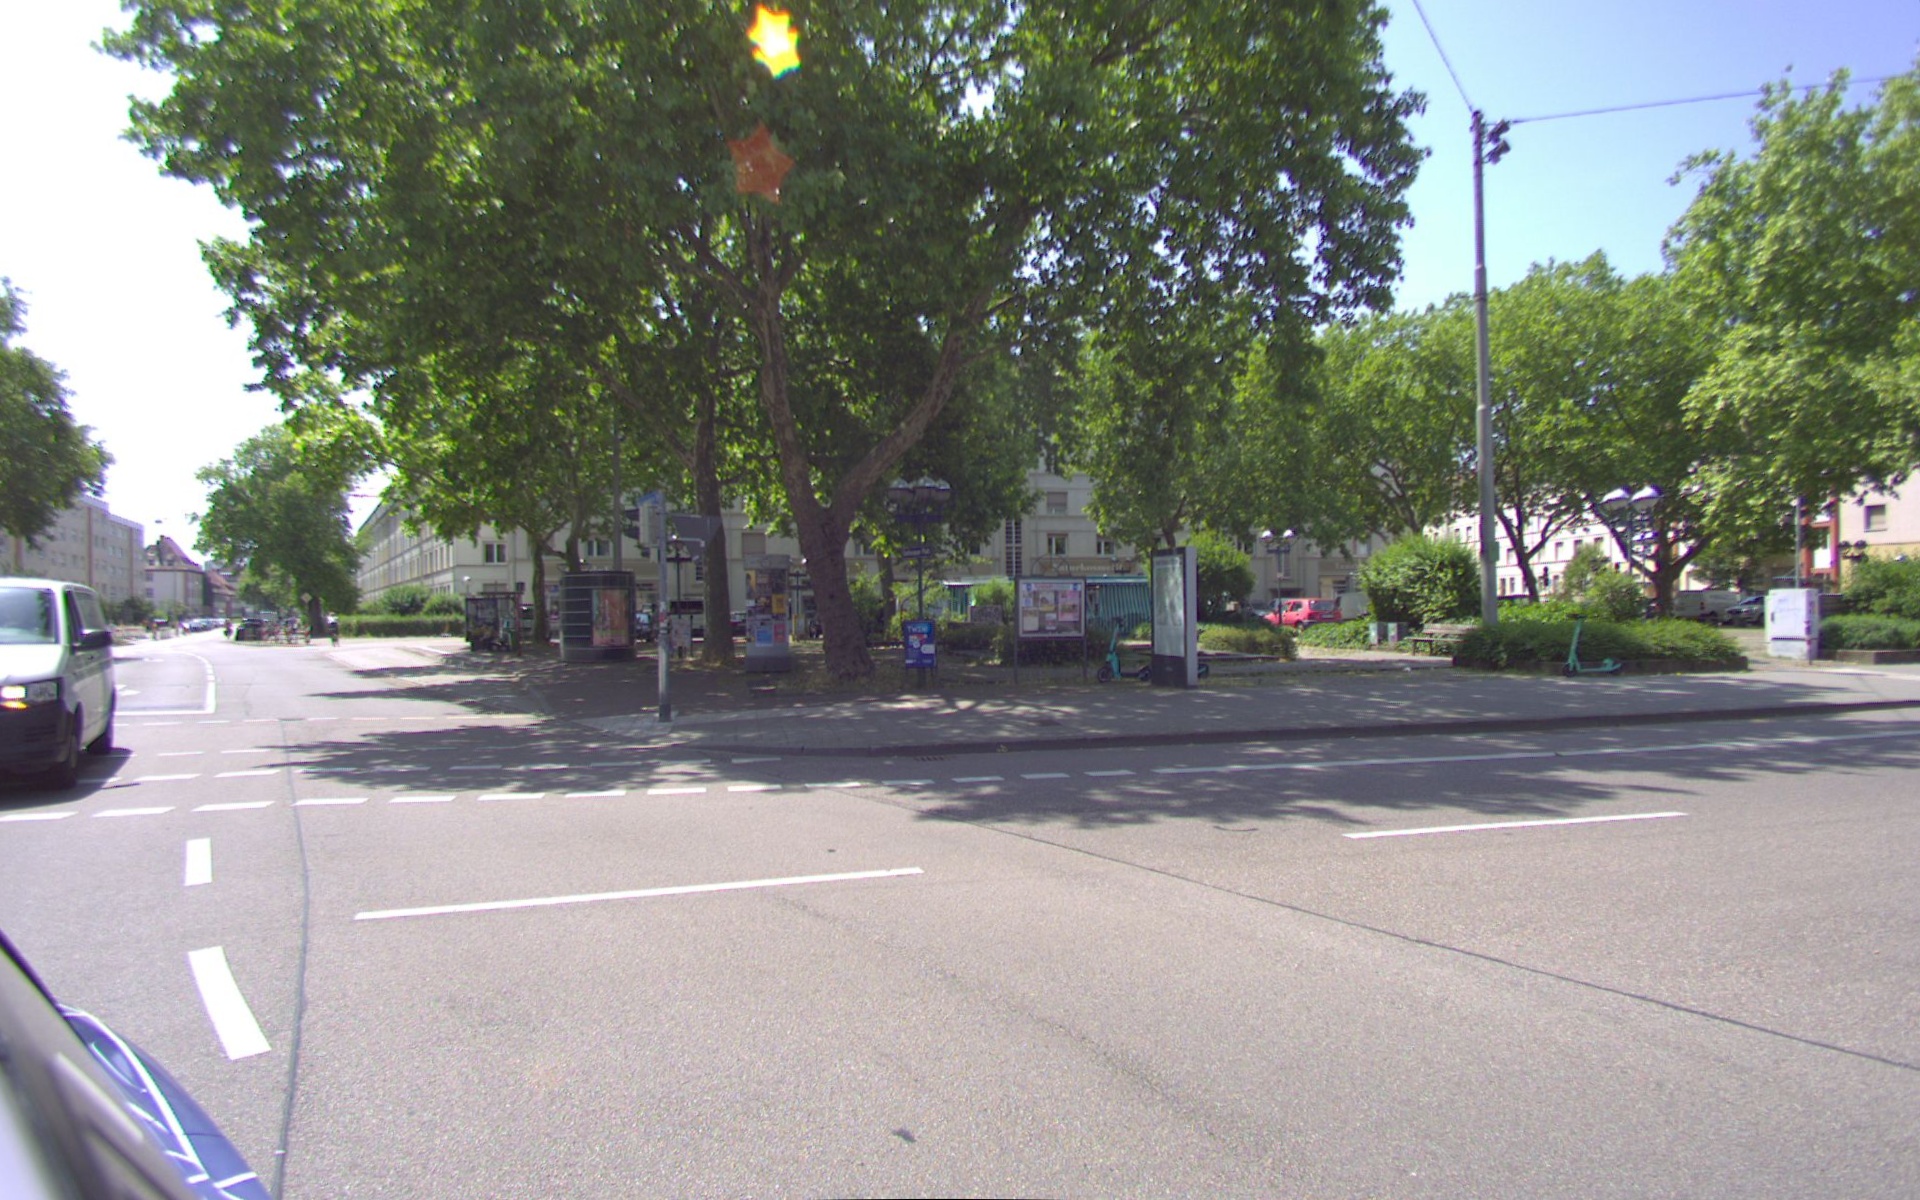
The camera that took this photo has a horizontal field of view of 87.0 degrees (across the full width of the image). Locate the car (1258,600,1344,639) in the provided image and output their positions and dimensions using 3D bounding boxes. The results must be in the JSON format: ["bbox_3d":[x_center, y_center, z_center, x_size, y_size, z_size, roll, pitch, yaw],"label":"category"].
[{"bbox_3d":[12.824,0.696,38.228,1.448,1.394,3.354,-1,0,-14],"label":"car"}]

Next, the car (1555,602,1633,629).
[{"bbox_3d":[37.921,0.936,60.527,3.784,1.499,1.929,-1,-1,-18],"label":"car"}]

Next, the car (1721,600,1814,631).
[{"bbox_3d":[41.016,0.793,51.430,3.784,1.499,1.929,-1,-1,-18],"label":"car"}]

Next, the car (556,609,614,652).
[{"bbox_3d":[-18.760,1.492,50.776,1.968,2.029,4.008,-1,0,-9],"label":"car"}]

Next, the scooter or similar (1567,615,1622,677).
[{"bbox_3d":[11.690,0.843,18.648,0.848,1.129,0.257,-1,0,-1],"label":"scooter or similar"}]

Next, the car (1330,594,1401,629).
[{"bbox_3d":[24.251,0.661,60.747,2.131,1.964,4.008,-1,0,-10],"label":"car"}]

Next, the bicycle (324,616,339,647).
[{"bbox_3d":[-33.409,1.649,53.816,0.586,1.566,1.849,0,0,-29],"label":"bicycle"}]

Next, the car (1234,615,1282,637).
[{"bbox_3d":[20.859,1.796,71.001,1.596,1.420,3.935,-1,0,-10],"label":"car"}]

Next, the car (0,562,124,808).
[{"bbox_3d":[-9.567,0.761,9.845,1.823,1.968,4.955,-1,-1,-35],"label":"car"}]

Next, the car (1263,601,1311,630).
[{"bbox_3d":[23.133,1.086,71.767,1.548,1.964,3.935,-1,0,-10],"label":"car"}]

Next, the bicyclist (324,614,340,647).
[{"bbox_3d":[-33.504,1.624,53.991,0.693,1.748,0.790,0,0,-28],"label":"bicyclist"}]

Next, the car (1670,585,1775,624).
[{"bbox_3d":[40.798,0.248,54.175,5.020,2.005,1.929,-1,-1,-18],"label":"car"}]

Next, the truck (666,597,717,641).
[{"bbox_3d":[-13.693,0.931,51.828,1.934,2.138,4.380,-1,0,-7],"label":"truck"}]

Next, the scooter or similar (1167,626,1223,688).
[{"bbox_3d":[4.408,1.067,19.005,0.963,1.129,0.257,-1,0,-1],"label":"scooter or similar"}]

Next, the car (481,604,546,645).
[{"bbox_3d":[-21.867,1.196,49.719,1.968,1.913,4.008,-1,-1,-9],"label":"car"}]

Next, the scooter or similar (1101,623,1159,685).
[{"bbox_3d":[3.184,1.011,18.994,1.022,1.129,0.257,-1,-1,-1],"label":"scooter or similar"}]

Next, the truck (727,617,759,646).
[{"bbox_3d":[-11.260,1.605,52.336,1.445,1.388,2.990,-1,0,-15],"label":"truck"}]

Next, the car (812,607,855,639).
[{"bbox_3d":[-6.732,1.208,53.648,1.903,1.613,4.009,-1,-1,-12],"label":"car"}]
